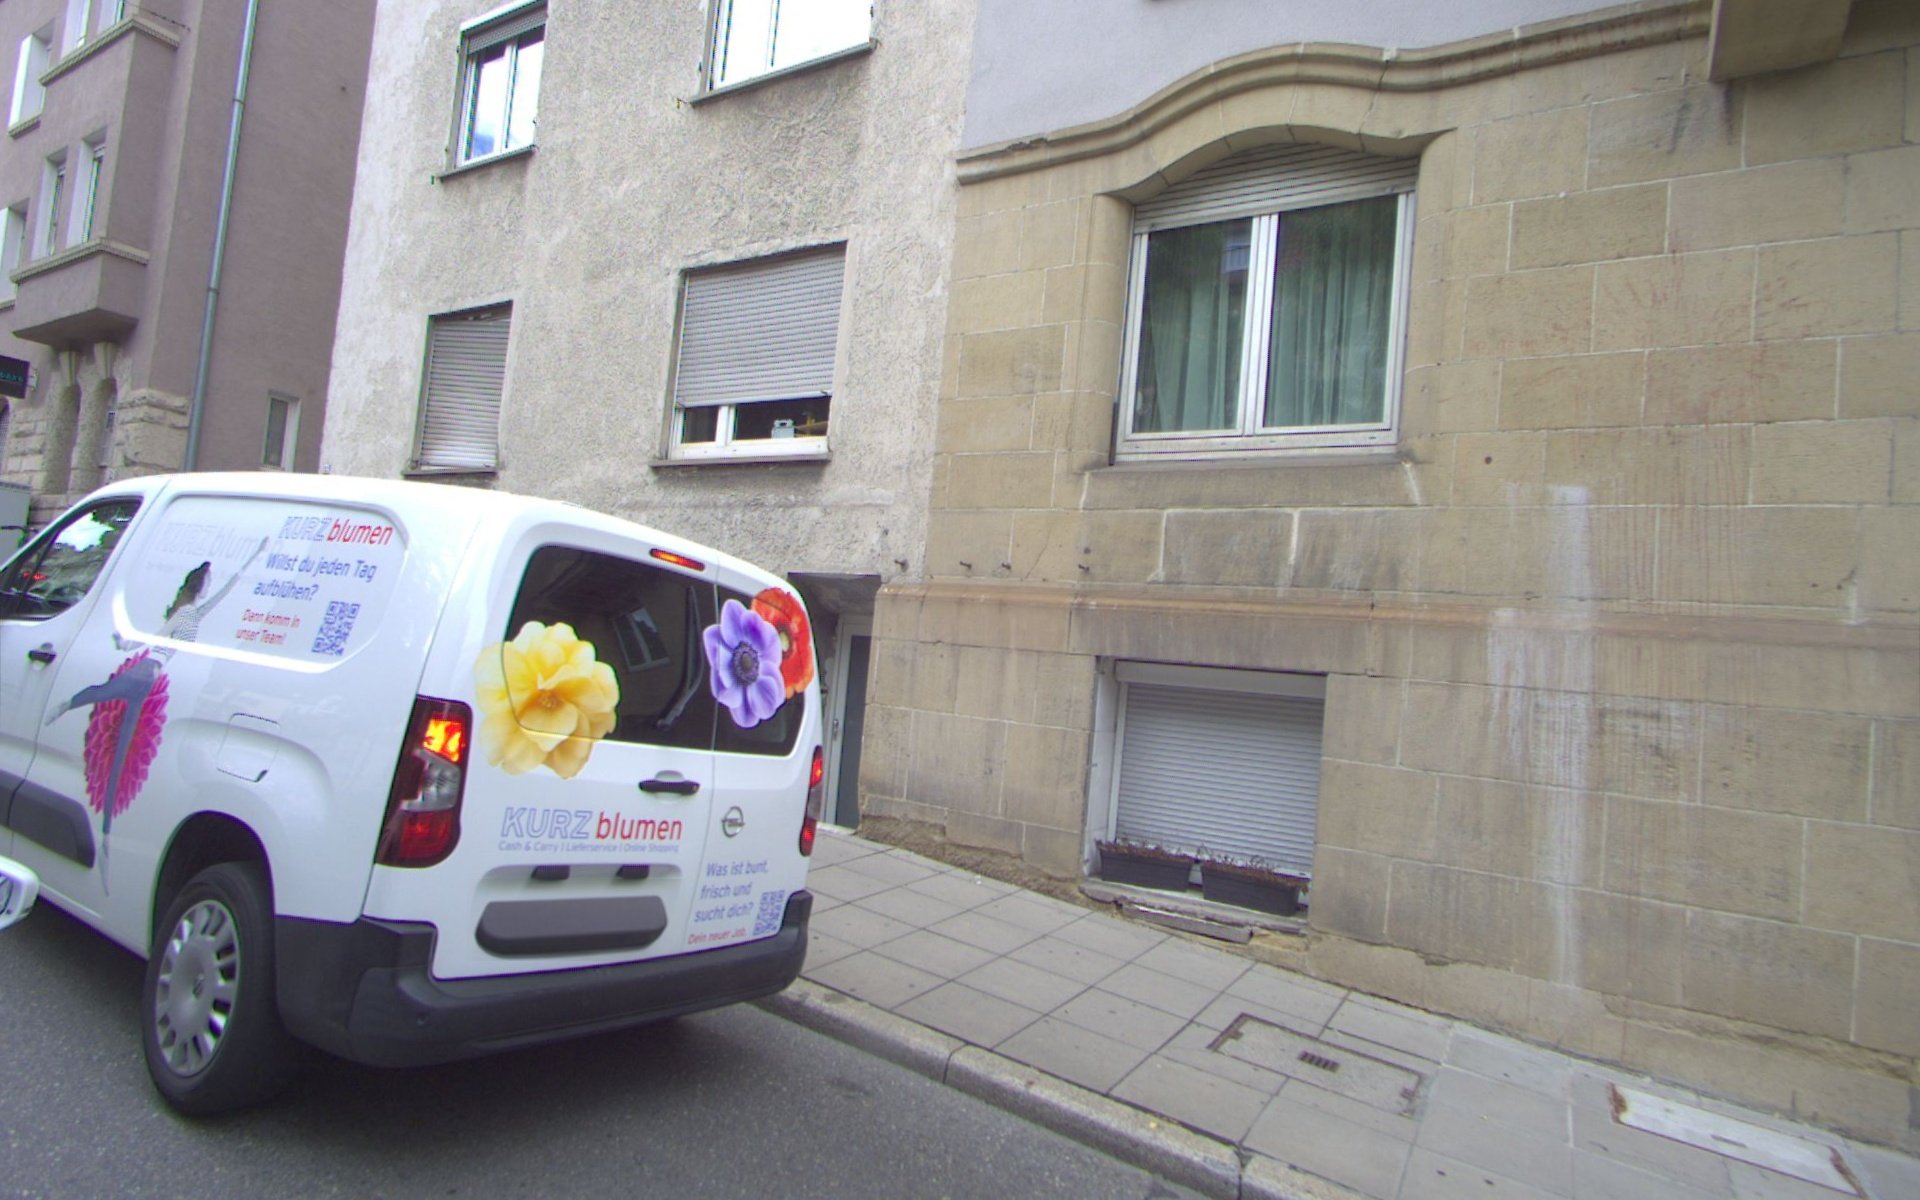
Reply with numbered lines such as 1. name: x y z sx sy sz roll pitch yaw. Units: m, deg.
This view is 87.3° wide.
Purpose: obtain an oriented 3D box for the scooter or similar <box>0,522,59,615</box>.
1. scooter or similar: -13.811 -0.478 14.837 1.333 1.202 0.401 9 1 36

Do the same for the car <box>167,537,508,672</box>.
1. car: -9.432 0.153 15.580 1.770 1.419 3.997 9 -2 32

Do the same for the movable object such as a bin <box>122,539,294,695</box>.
1. movable object such as a bin: -7.922 0.170 10.594 1.665 1.437 0.721 6 -1 30

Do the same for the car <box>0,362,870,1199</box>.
1. car: -2.963 0.364 4.349 4.943 1.844 1.853 5 -4 36
